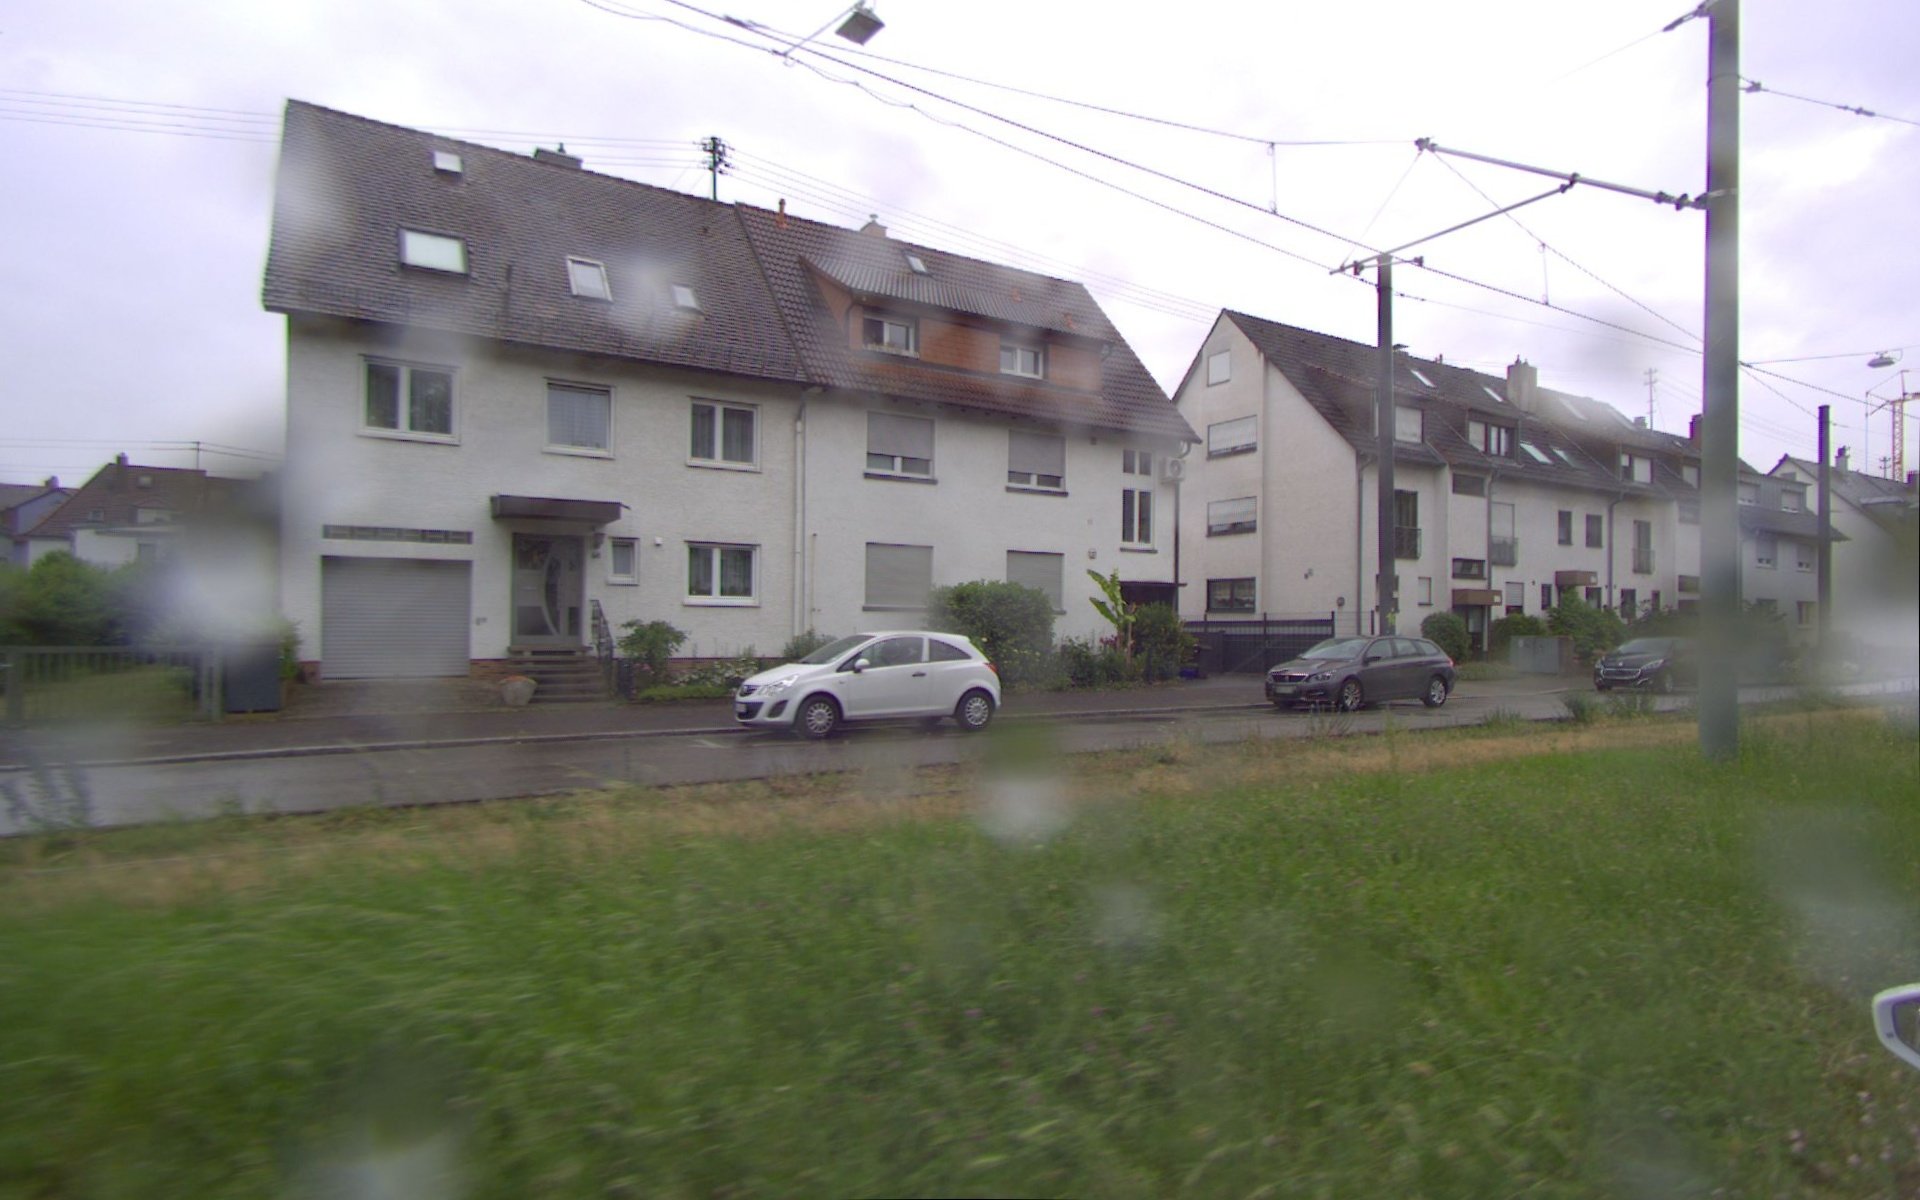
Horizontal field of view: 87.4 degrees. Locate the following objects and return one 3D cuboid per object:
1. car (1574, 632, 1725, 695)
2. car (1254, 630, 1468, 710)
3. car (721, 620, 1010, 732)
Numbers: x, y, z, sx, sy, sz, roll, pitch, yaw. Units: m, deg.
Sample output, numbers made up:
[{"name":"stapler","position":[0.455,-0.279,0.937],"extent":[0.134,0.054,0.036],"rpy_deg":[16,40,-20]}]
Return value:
[{"name":"car","position":[18.585,1.710,27.056],"extent":[4.088,1.523,1.867],"rpy_deg":[4,-3,-32]},{"name":"car","position":[8.214,1.446,20.428],"extent":[4.614,1.442,1.593],"rpy_deg":[4,-3,-31]},{"name":"car","position":[-1.339,1.111,14.737],"extent":[3.899,1.442,1.593],"rpy_deg":[4,-3,-31]}]
